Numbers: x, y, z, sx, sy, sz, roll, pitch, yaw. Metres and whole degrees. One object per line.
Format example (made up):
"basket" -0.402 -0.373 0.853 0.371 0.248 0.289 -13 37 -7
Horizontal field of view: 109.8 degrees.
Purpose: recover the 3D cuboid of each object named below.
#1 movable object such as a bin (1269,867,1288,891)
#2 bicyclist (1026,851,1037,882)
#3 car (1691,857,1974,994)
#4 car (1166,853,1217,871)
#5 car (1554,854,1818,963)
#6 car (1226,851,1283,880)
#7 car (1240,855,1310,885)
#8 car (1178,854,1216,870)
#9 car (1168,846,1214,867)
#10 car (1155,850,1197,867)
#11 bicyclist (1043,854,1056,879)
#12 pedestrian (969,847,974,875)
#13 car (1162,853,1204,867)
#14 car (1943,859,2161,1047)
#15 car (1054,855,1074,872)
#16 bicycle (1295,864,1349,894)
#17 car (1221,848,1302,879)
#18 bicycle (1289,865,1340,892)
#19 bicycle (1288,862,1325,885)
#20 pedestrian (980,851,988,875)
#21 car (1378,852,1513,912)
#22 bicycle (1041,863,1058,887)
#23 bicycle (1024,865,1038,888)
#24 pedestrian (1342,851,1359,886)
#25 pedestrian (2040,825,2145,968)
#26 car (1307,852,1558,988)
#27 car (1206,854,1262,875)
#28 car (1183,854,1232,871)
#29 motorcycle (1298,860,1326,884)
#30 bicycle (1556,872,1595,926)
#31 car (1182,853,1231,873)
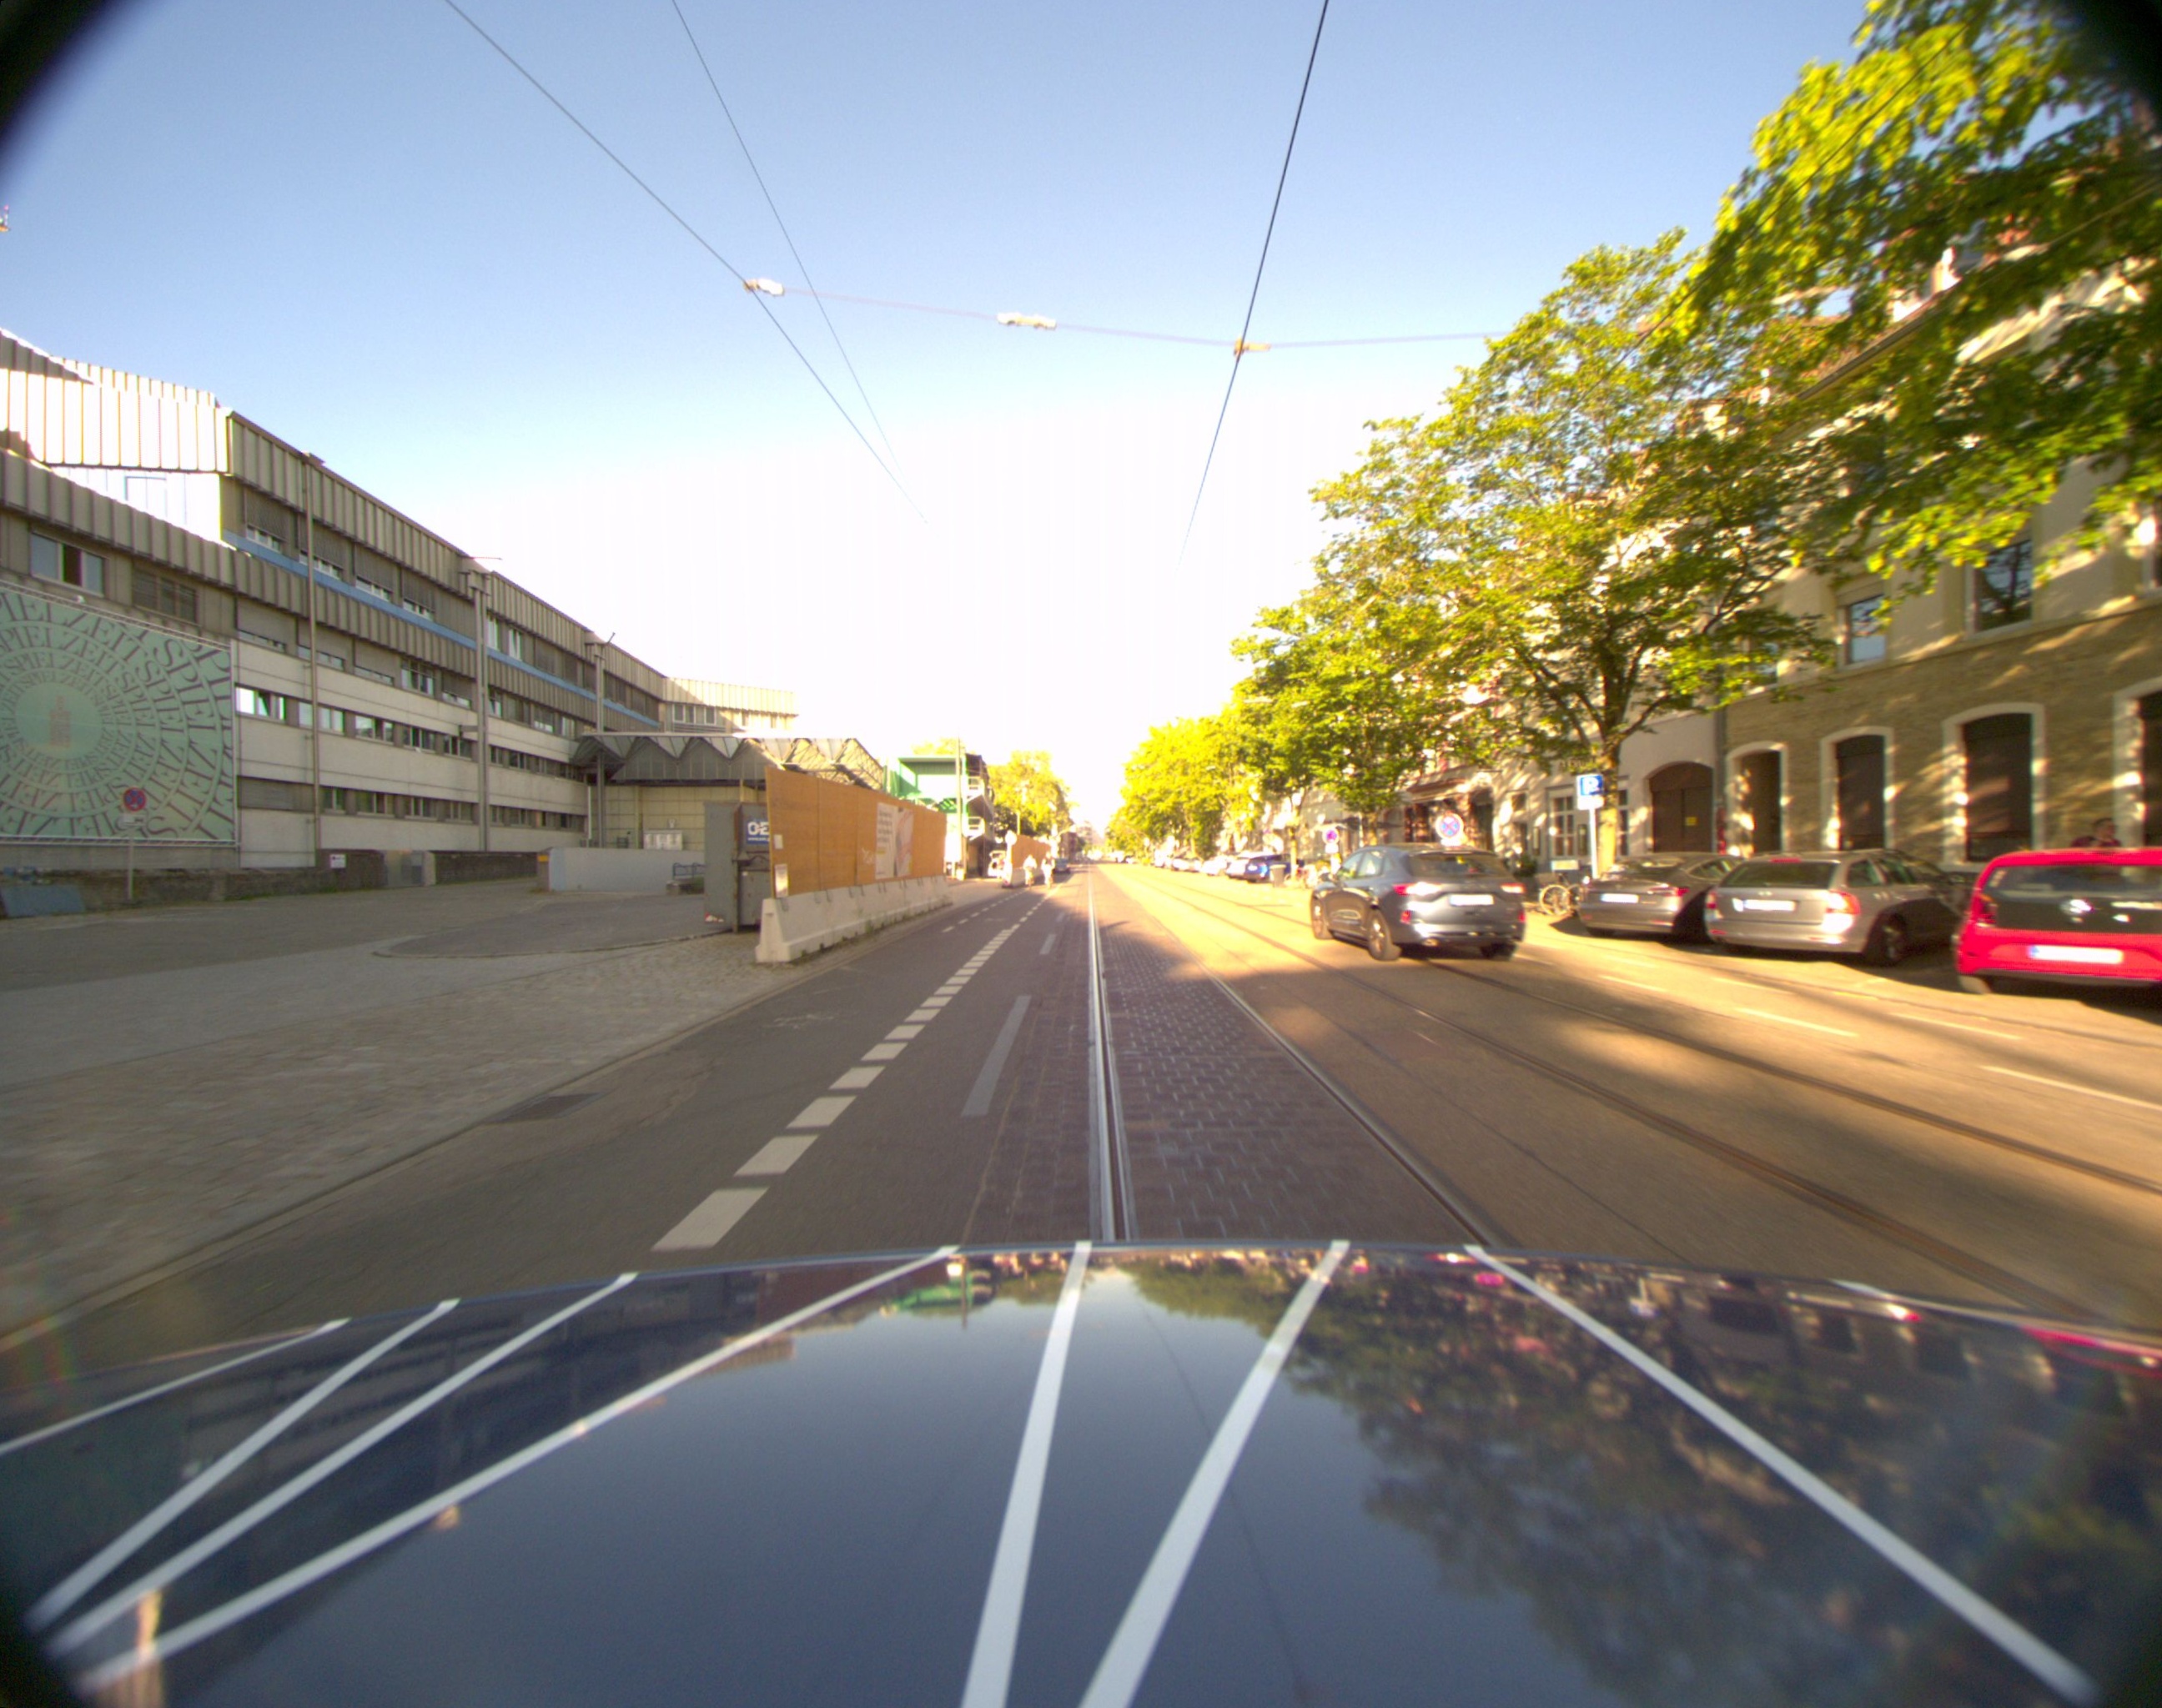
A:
"movable object such as a bin" 9.223 1.153 35.486 0.685 1.071 0.710 -4 0 2
"bicyclist" -2.546 0.637 39.009 0.557 1.603 0.576 0 0 -1
"car" 10.453 0.851 10.547 3.689 1.462 1.749 -3 1 -28
"car" 11.109 0.780 76.732 4.841 1.714 2.163 -1 0 -2
"car" 10.539 0.832 13.213 4.208 1.482 1.939 -2 0 -26
"car" 11.344 0.751 49.673 3.451 1.832 1.729 0 0 -31
"car" 10.667 0.844 41.777 3.910 1.599 1.569 0 0 -35
"car" 11.248 0.769 74.001 3.376 1.544 1.383 -1 0 -12
"car" 11.547 0.247 79.959 4.448 2.105 2.163 -1 0 -2
"car" 11.908 0.561 95.560 4.937 2.002 2.075 0 0 0
"bicyclist" -1.584 0.622 38.362 0.653 1.230 0.353 0 0 -1
"pedestrian" -8.045 0.497 55.795 0.307 2.033 0.352 -1 1 -5
"car" 12.276 0.718 92.037 4.708 1.567 1.954 -2 0 -4
"car" 10.577 0.862 7.703 3.378 1.484 1.610 -3 0 -27
"car" -1.681 0.965 75.771 1.749 1.612 4.171 0 -2 1
"bicycle" 10.105 1.038 31.945 2.007 1.081 0.567 -5 0 3
"car" 11.207 0.567 47.129 4.950 1.784 2.203 -1 0 -37
"bicycle" 10.210 1.075 33.271 1.972 1.073 0.568 -3 0 3
"bicycle" 10.402 0.876 35.011 1.605 0.982 0.388 -2 0 -10
"pedestrian" -7.187 0.646 56.180 0.449 1.748 0.377 -1 1 -19
"car" 10.930 0.816 22.786 3.629 1.544 1.665 -2 -1 -25
"bicycle" -1.573 1.065 38.549 0.669 1.148 2.276 -2 0 2
"bicycle" -2.549 1.148 38.904 0.558 1.120 2.276 -1 0 0
"pedestrian" 14.013 0.742 39.529 0.645 1.827 0.624 0 1 2
"pedestrian" 14.490 0.595 10.900 0.733 2.002 0.556 0 1 2
"car" 4.998 0.821 11.579 1.932 1.620 4.248 0 1 1
"car" 11.350 0.794 56.501 3.651 1.520 1.883 0 0 -19
"car" 11.808 0.825 70.959 4.174 1.543 1.700 0 0 -15
"motorcycle" 12.334 0.954 40.546 0.724 1.246 2.605 0 0 33
"bicycle" 10.692 0.948 16.419 1.597 1.089 0.332 0 1 -44
"car" 11.212 0.797 68.087 4.003 1.667 1.700 -1 0 -19
